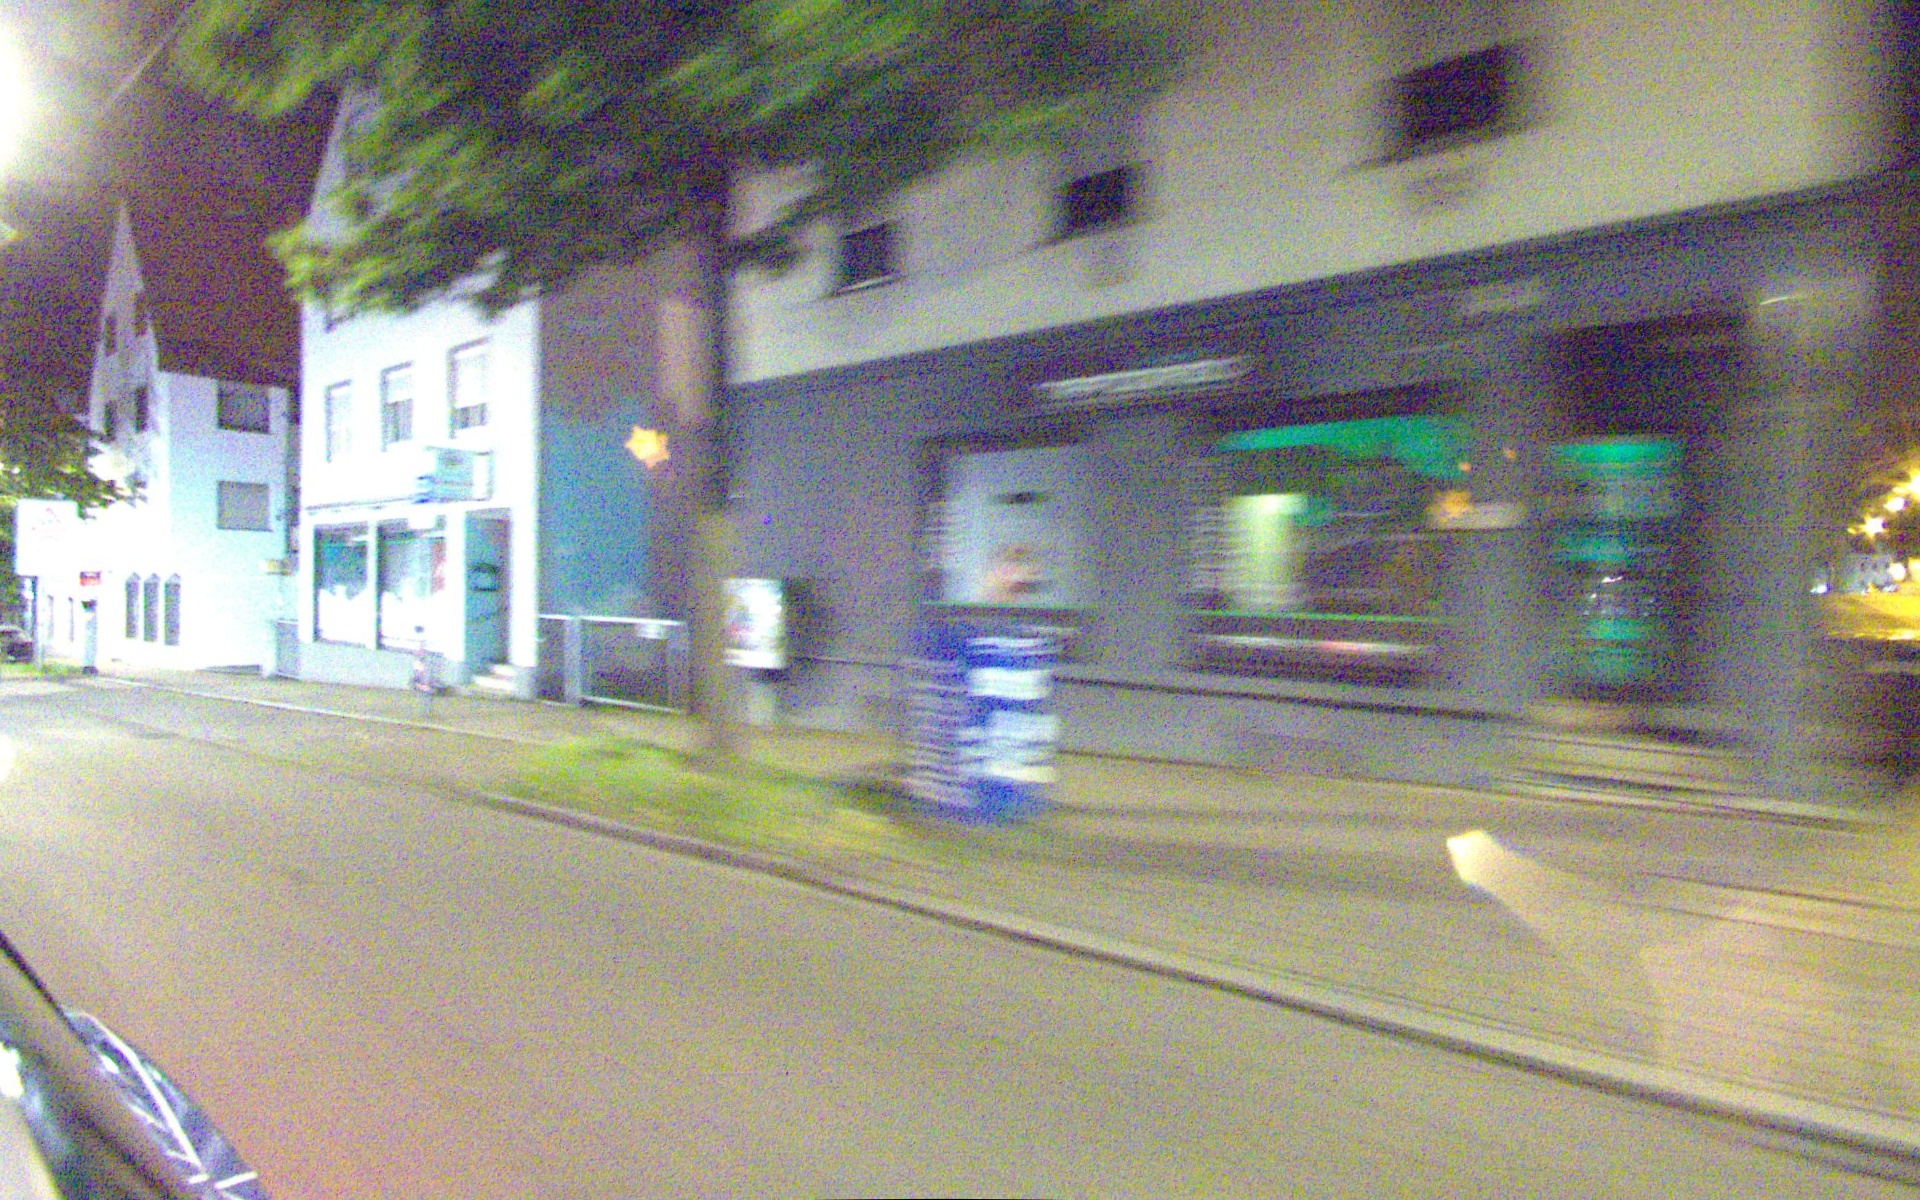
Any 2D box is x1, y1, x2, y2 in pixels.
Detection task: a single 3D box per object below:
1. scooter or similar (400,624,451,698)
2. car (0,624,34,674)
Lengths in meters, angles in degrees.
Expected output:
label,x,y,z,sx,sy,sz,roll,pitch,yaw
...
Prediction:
label,x,y,z,sx,sy,sz,roll,pitch,yaw
scooter or similar,-9.407,1.055,17.808,1.335,1.235,0.328,-1,1,42
car,-30.952,1.547,32.092,4.286,1.497,1.710,-1,0,39
